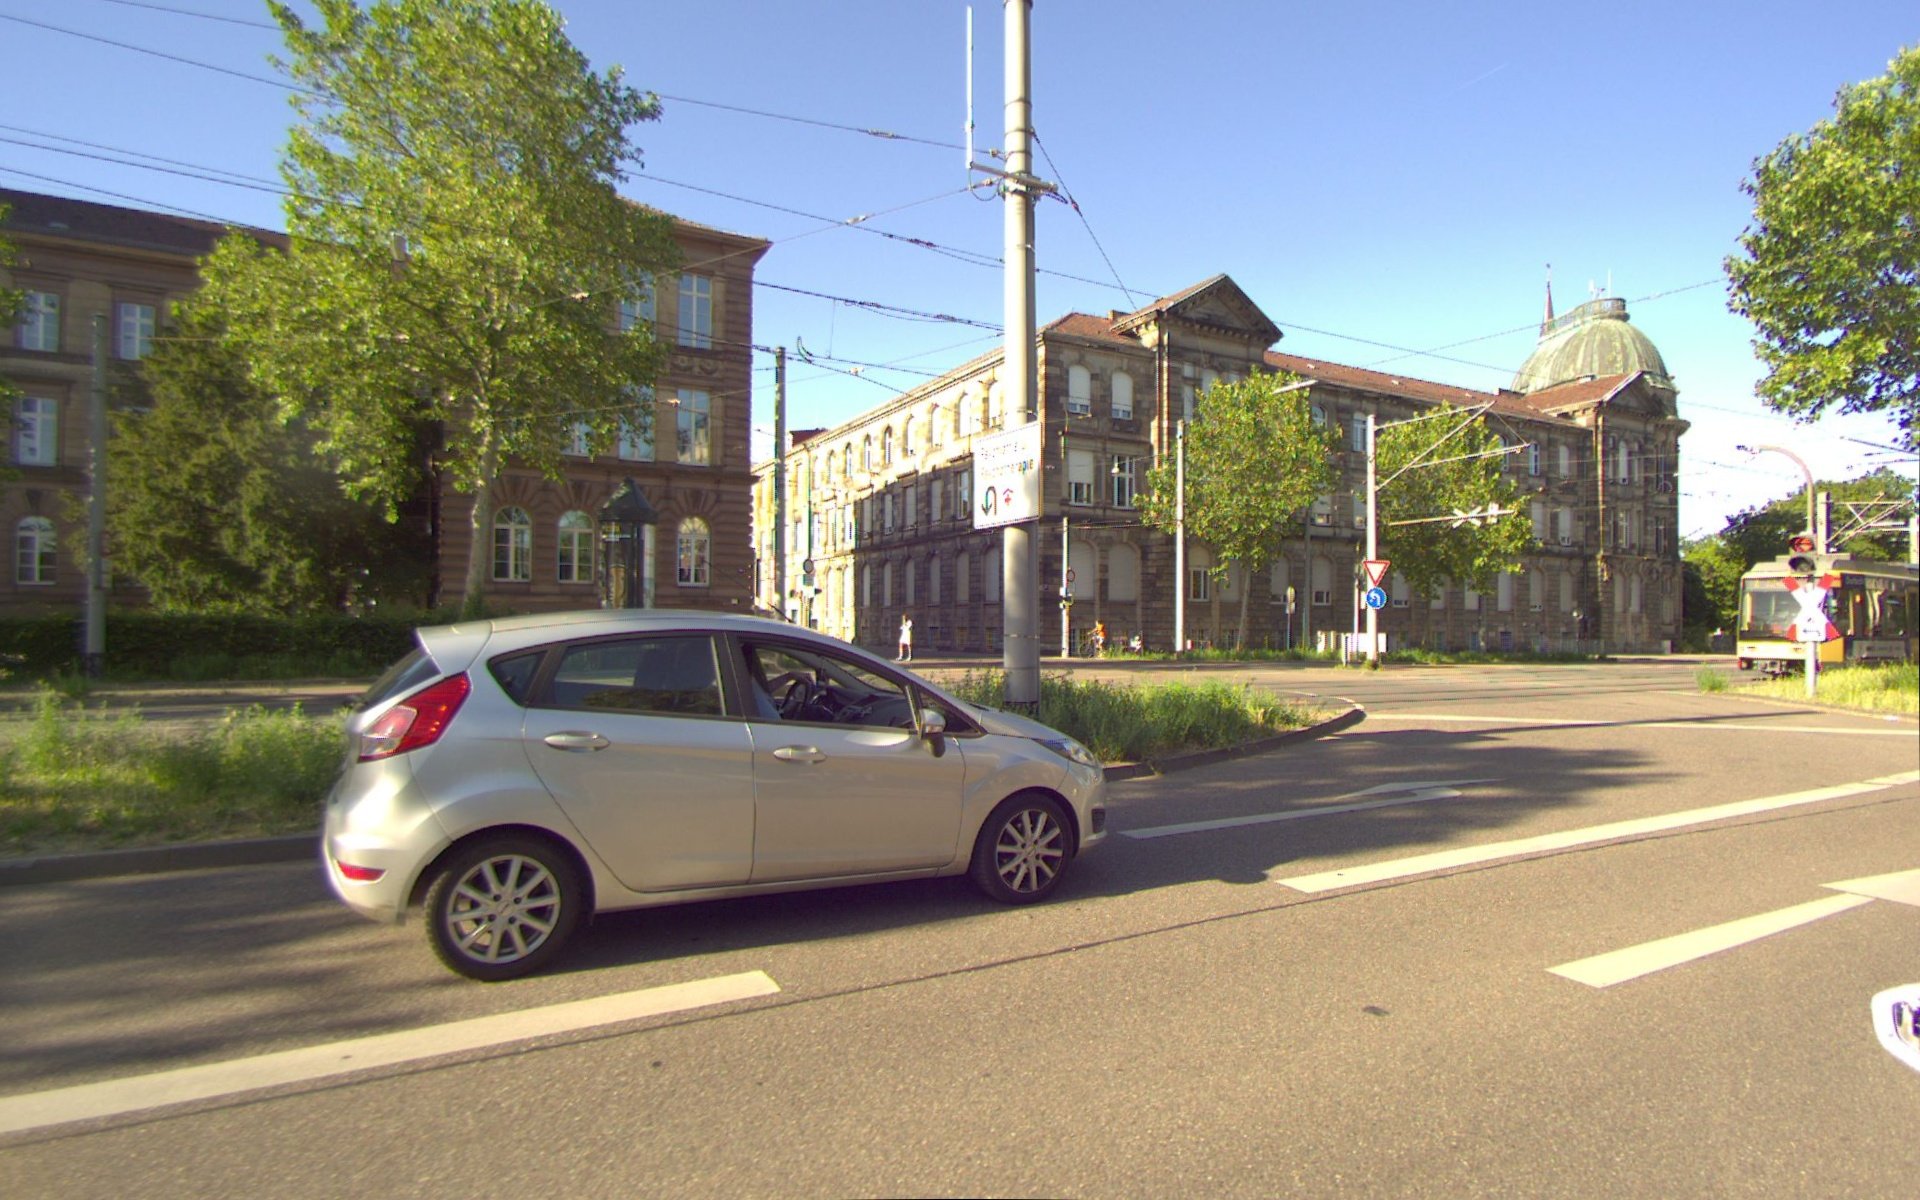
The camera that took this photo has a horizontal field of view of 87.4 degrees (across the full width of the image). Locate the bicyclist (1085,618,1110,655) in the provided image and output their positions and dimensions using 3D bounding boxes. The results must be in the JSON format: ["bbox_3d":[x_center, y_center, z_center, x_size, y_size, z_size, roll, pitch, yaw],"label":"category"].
[{"bbox_3d":[6.128,1.628,44.802,0.859,1.646,0.671,1,0,-26],"label":"bicyclist"}]

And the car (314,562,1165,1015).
[{"bbox_3d":[-0.981,0.712,5.219,3.815,1.617,1.655,2,0,-28],"label":"car"}]

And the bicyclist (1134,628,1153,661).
[{"bbox_3d":[8.410,2.032,46.106,0.716,1.481,0.797,2,0,2],"label":"bicyclist"}]

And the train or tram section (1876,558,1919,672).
[{"bbox_3d":[34.924,0.570,35.370,3.822,3.949,2.939,2,0,-32],"label":"train or tram section"}]

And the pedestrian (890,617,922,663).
[{"bbox_3d":[-2.170,1.617,40.599,0.990,1.824,0.859,1,0,-27],"label":"pedestrian"}]

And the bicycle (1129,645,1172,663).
[{"bbox_3d":[8.729,2.470,46.089,1.864,0.732,0.526,2,0,-1],"label":"bicycle"}]

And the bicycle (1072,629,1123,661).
[{"bbox_3d":[6.140,2.017,44.830,2.319,1.408,0.523,2,0,-25],"label":"bicycle"}]

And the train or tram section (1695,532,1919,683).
[{"bbox_3d":[27.337,0.346,30.587,14.114,3.863,2.913,2,0,-32],"label":"train or tram section"}]

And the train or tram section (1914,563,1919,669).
[{"bbox_3d":[41.094,0.754,39.213,10.683,3.949,2.936,2,0,-32],"label":"train or tram section"}]
